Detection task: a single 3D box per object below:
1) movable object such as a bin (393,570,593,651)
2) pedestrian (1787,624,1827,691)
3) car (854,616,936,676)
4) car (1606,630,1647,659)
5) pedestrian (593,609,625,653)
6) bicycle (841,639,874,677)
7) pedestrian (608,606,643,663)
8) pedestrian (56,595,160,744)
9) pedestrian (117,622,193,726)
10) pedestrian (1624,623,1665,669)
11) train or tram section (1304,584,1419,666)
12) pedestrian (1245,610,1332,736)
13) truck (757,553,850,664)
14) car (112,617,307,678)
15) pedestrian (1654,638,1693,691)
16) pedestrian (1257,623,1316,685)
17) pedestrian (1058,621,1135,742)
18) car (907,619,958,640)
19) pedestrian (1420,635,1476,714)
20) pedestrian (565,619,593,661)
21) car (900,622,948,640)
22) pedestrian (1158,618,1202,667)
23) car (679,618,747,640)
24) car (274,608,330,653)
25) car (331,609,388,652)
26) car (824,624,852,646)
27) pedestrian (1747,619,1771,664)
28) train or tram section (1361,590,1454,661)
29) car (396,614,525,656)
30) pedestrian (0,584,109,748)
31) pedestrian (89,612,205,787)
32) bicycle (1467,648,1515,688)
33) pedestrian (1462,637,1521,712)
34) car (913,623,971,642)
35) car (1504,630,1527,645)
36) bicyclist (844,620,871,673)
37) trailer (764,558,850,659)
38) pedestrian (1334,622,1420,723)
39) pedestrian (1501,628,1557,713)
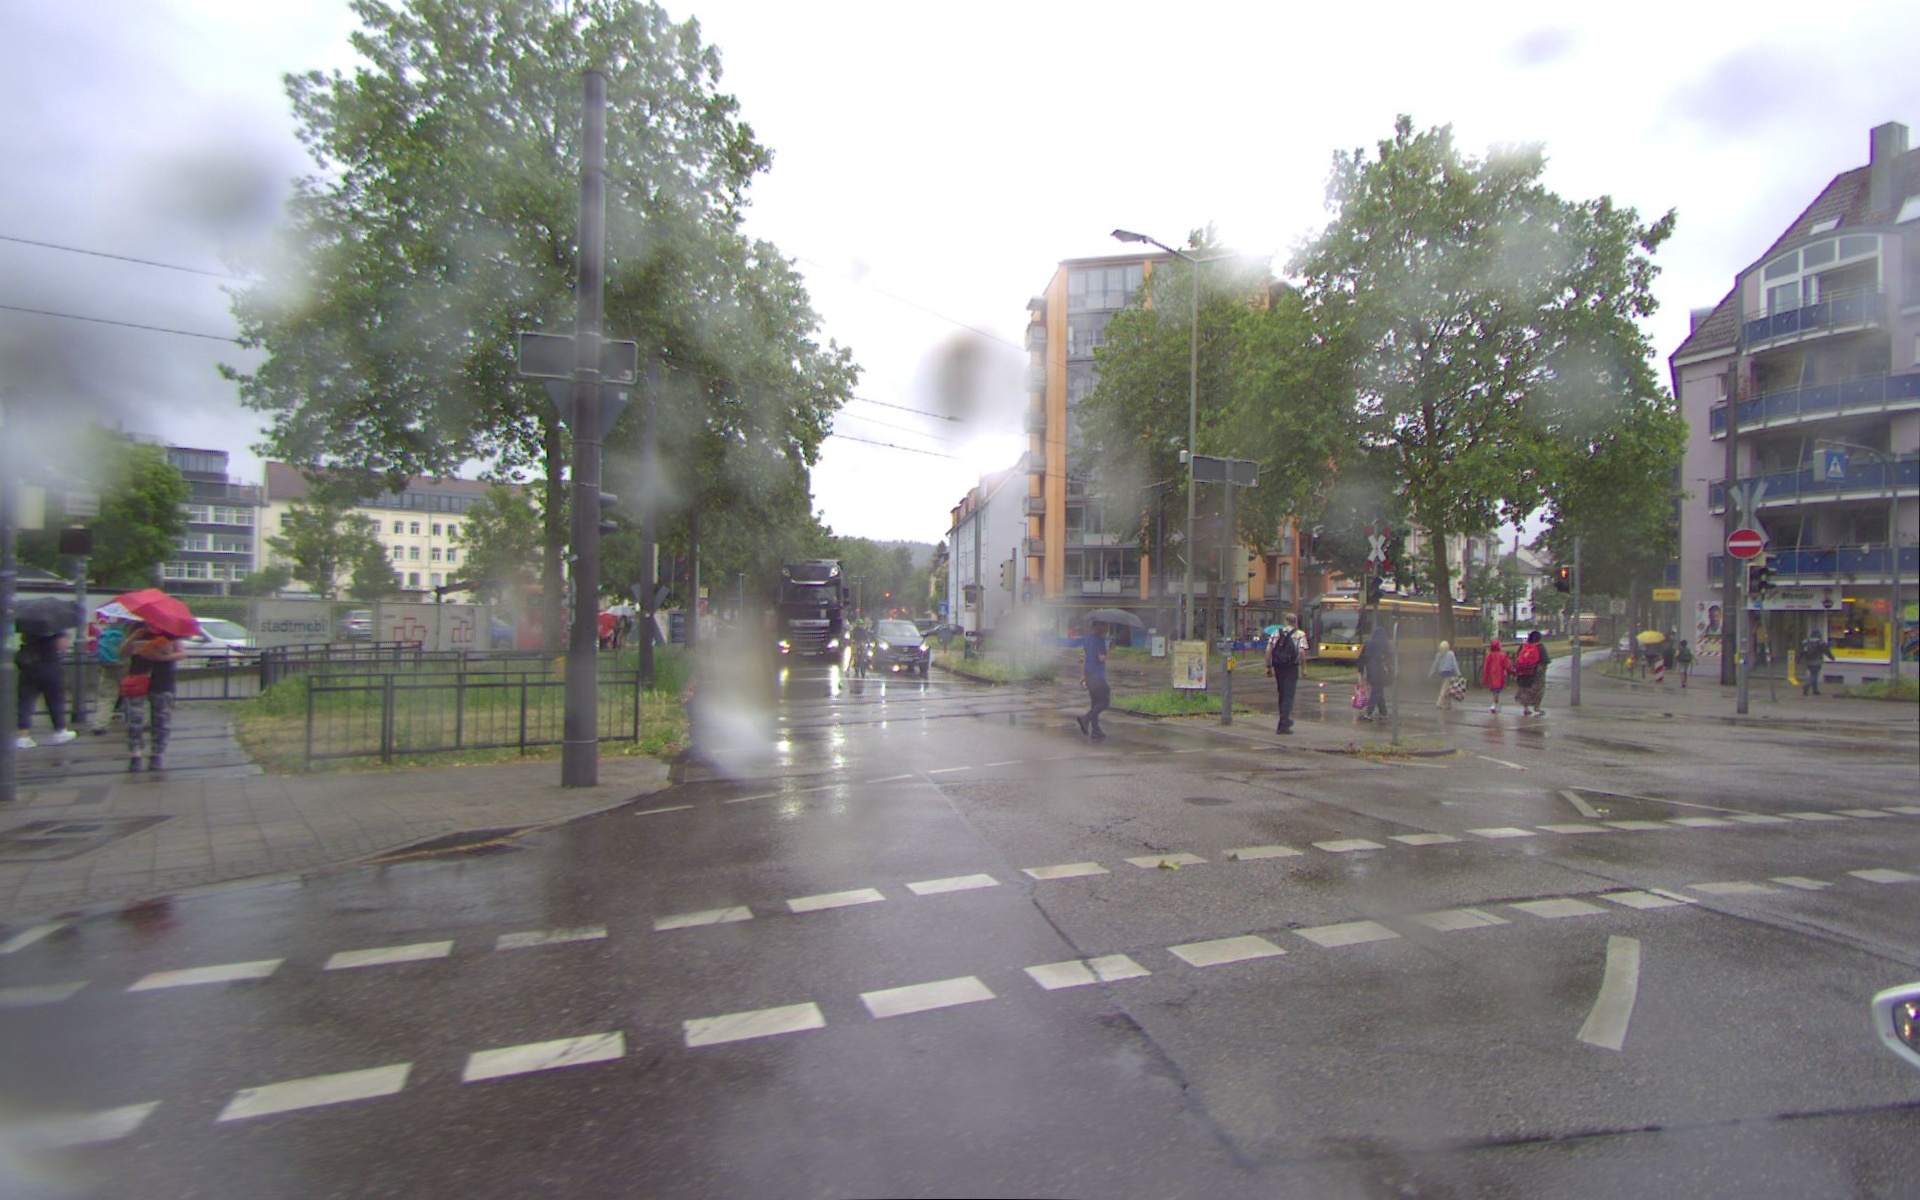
[{"bbox_3d":[-18.589,0.426,40.226,6.642,2.969,2.776,1,-1,4],"label":"movable object such as a bin"},{"bbox_3d":[23.475,1.573,27.848,0.612,1.828,0.640,0,0,-18],"label":"pedestrian"},{"bbox_3d":[-2.312,1.501,34.468,2.045,1.704,4.918,3,0,-12],"label":"car"},{"bbox_3d":[41.405,2.704,62.363,1.967,1.695,3.987,0,-1,36],"label":"car"},{"bbox_3d":[-13.465,1.172,38.558,0.742,1.671,0.904,0,-1,38],"label":"pedestrian"},{"bbox_3d":[-2.969,1.659,29.030,0.525,1.038,1.866,1,-1,-19],"label":"bicycle"},{"bbox_3d":[-11.794,1.212,35.465,0.895,1.990,1.214,0,-1,-6],"label":"pedestrian"},{"bbox_3d":[-11.339,0.892,13.409,0.946,1.887,0.841,0,0,-34],"label":"pedestrian"},{"bbox_3d":[-12.293,1.106,15.372,0.820,1.524,0.841,0,0,-34],"label":"pedestrian"},{"bbox_3d":[27.533,1.833,40.423,1.143,1.812,0.894,1,-1,18],"label":"pedestrian"},{"bbox_3d":[18.478,1.131,45.857,2.605,3.414,8.342,1,-1,38],"label":"train or tram section"},{"bbox_3d":[4.906,1.056,15.033,0.983,1.805,0.805,0,0,-32],"label":"pedestrian"},{"bbox_3d":[-6.309,0.375,41.503,3.397,4.132,6.967,1,-1,-6],"label":"truck"},{"bbox_3d":[-18.668,1.152,25.067,3.591,1.338,1.845,1,-1,7],"label":"car"},{"bbox_3d":[22.400,2.011,31.541,0.979,1.580,0.781,0,-1,37],"label":"pedestrian"},{"bbox_3d":[10.307,1.675,31.731,1.156,1.890,1.379,1,-1,-20],"label":"pedestrian"},{"bbox_3d":[1.871,1.096,13.835,0.851,1.602,0.639,0,0,-23],"label":"pedestrian"},{"bbox_3d":[-2.422,2.552,87.189,4.169,1.829,1.941,0,-1,-10],"label":"car"},{"bbox_3d":[10.062,1.500,20.694,0.864,1.546,1.061,0,-1,36],"label":"pedestrian"},{"bbox_3d":[-14.326,1.497,37.782,0.630,1.535,0.772,0,-1,15],"label":"pedestrian"},{"bbox_3d":[-3.235,2.771,89.706,4.126,1.589,1.886,1,-1,-8],"label":"car"},{"bbox_3d":[8.234,1.584,37.661,1.026,1.812,1.227,1,-1,-30],"label":"pedestrian"},{"bbox_3d":[-17.744,2.070,72.276,4.301,1.413,1.992,4,-2,-37],"label":"car"},{"bbox_3d":[-29.715,1.335,45.305,1.980,1.816,3.961,1,0,-35],"label":"car"},{"bbox_3d":[-27.907,1.372,46.620,1.980,1.816,3.961,1,0,-35],"label":"car"},{"bbox_3d":[-8.187,2.360,67.604,1.699,1.379,4.334,0,-1,-5],"label":"car"},{"bbox_3d":[29.226,1.510,36.755,0.586,1.623,0.470,2,-1,-27],"label":"pedestrian"},{"bbox_3d":[23.516,1.351,52.487,2.604,3.395,8.345,1,-1,37],"label":"train or tram section"},{"bbox_3d":[-17.564,1.224,35.464,3.592,1.338,1.844,2,-1,1],"label":"car"},{"bbox_3d":[-10.987,0.768,12.151,0.946,1.887,0.841,0,0,-34],"label":"pedestrian"},{"bbox_3d":[-8.410,0.985,10.433,0.851,1.710,0.841,0,0,-34],"label":"pedestrian"},{"bbox_3d":[15.057,1.914,28.475,1.601,1.091,0.442,2,-1,-32],"label":"bicycle"},{"bbox_3d":[10.435,1.450,19.721,1.001,1.400,0.666,0,0,-37],"label":"pedestrian"},{"bbox_3d":[-1.480,2.625,80.862,4.463,1.489,1.981,0,-1,-7],"label":"car"},{"bbox_3d":[61.523,4.123,111.253,1.966,1.553,3.990,1,-1,33],"label":"car"},{"bbox_3d":[-2.963,1.330,28.993,0.572,1.480,1.007,1,-1,-19],"label":"bicyclist"},{"bbox_3d":[-7.044,0.460,48.457,3.389,4.102,15.036,1,-1,-6],"label":"trailer"},{"bbox_3d":[7.419,1.255,17.892,1.041,1.709,0.991,0,0,-23],"label":"pedestrian"},{"bbox_3d":[10.888,1.326,19.223,0.754,1.568,0.686,0,0,-35],"label":"pedestrian"}]
